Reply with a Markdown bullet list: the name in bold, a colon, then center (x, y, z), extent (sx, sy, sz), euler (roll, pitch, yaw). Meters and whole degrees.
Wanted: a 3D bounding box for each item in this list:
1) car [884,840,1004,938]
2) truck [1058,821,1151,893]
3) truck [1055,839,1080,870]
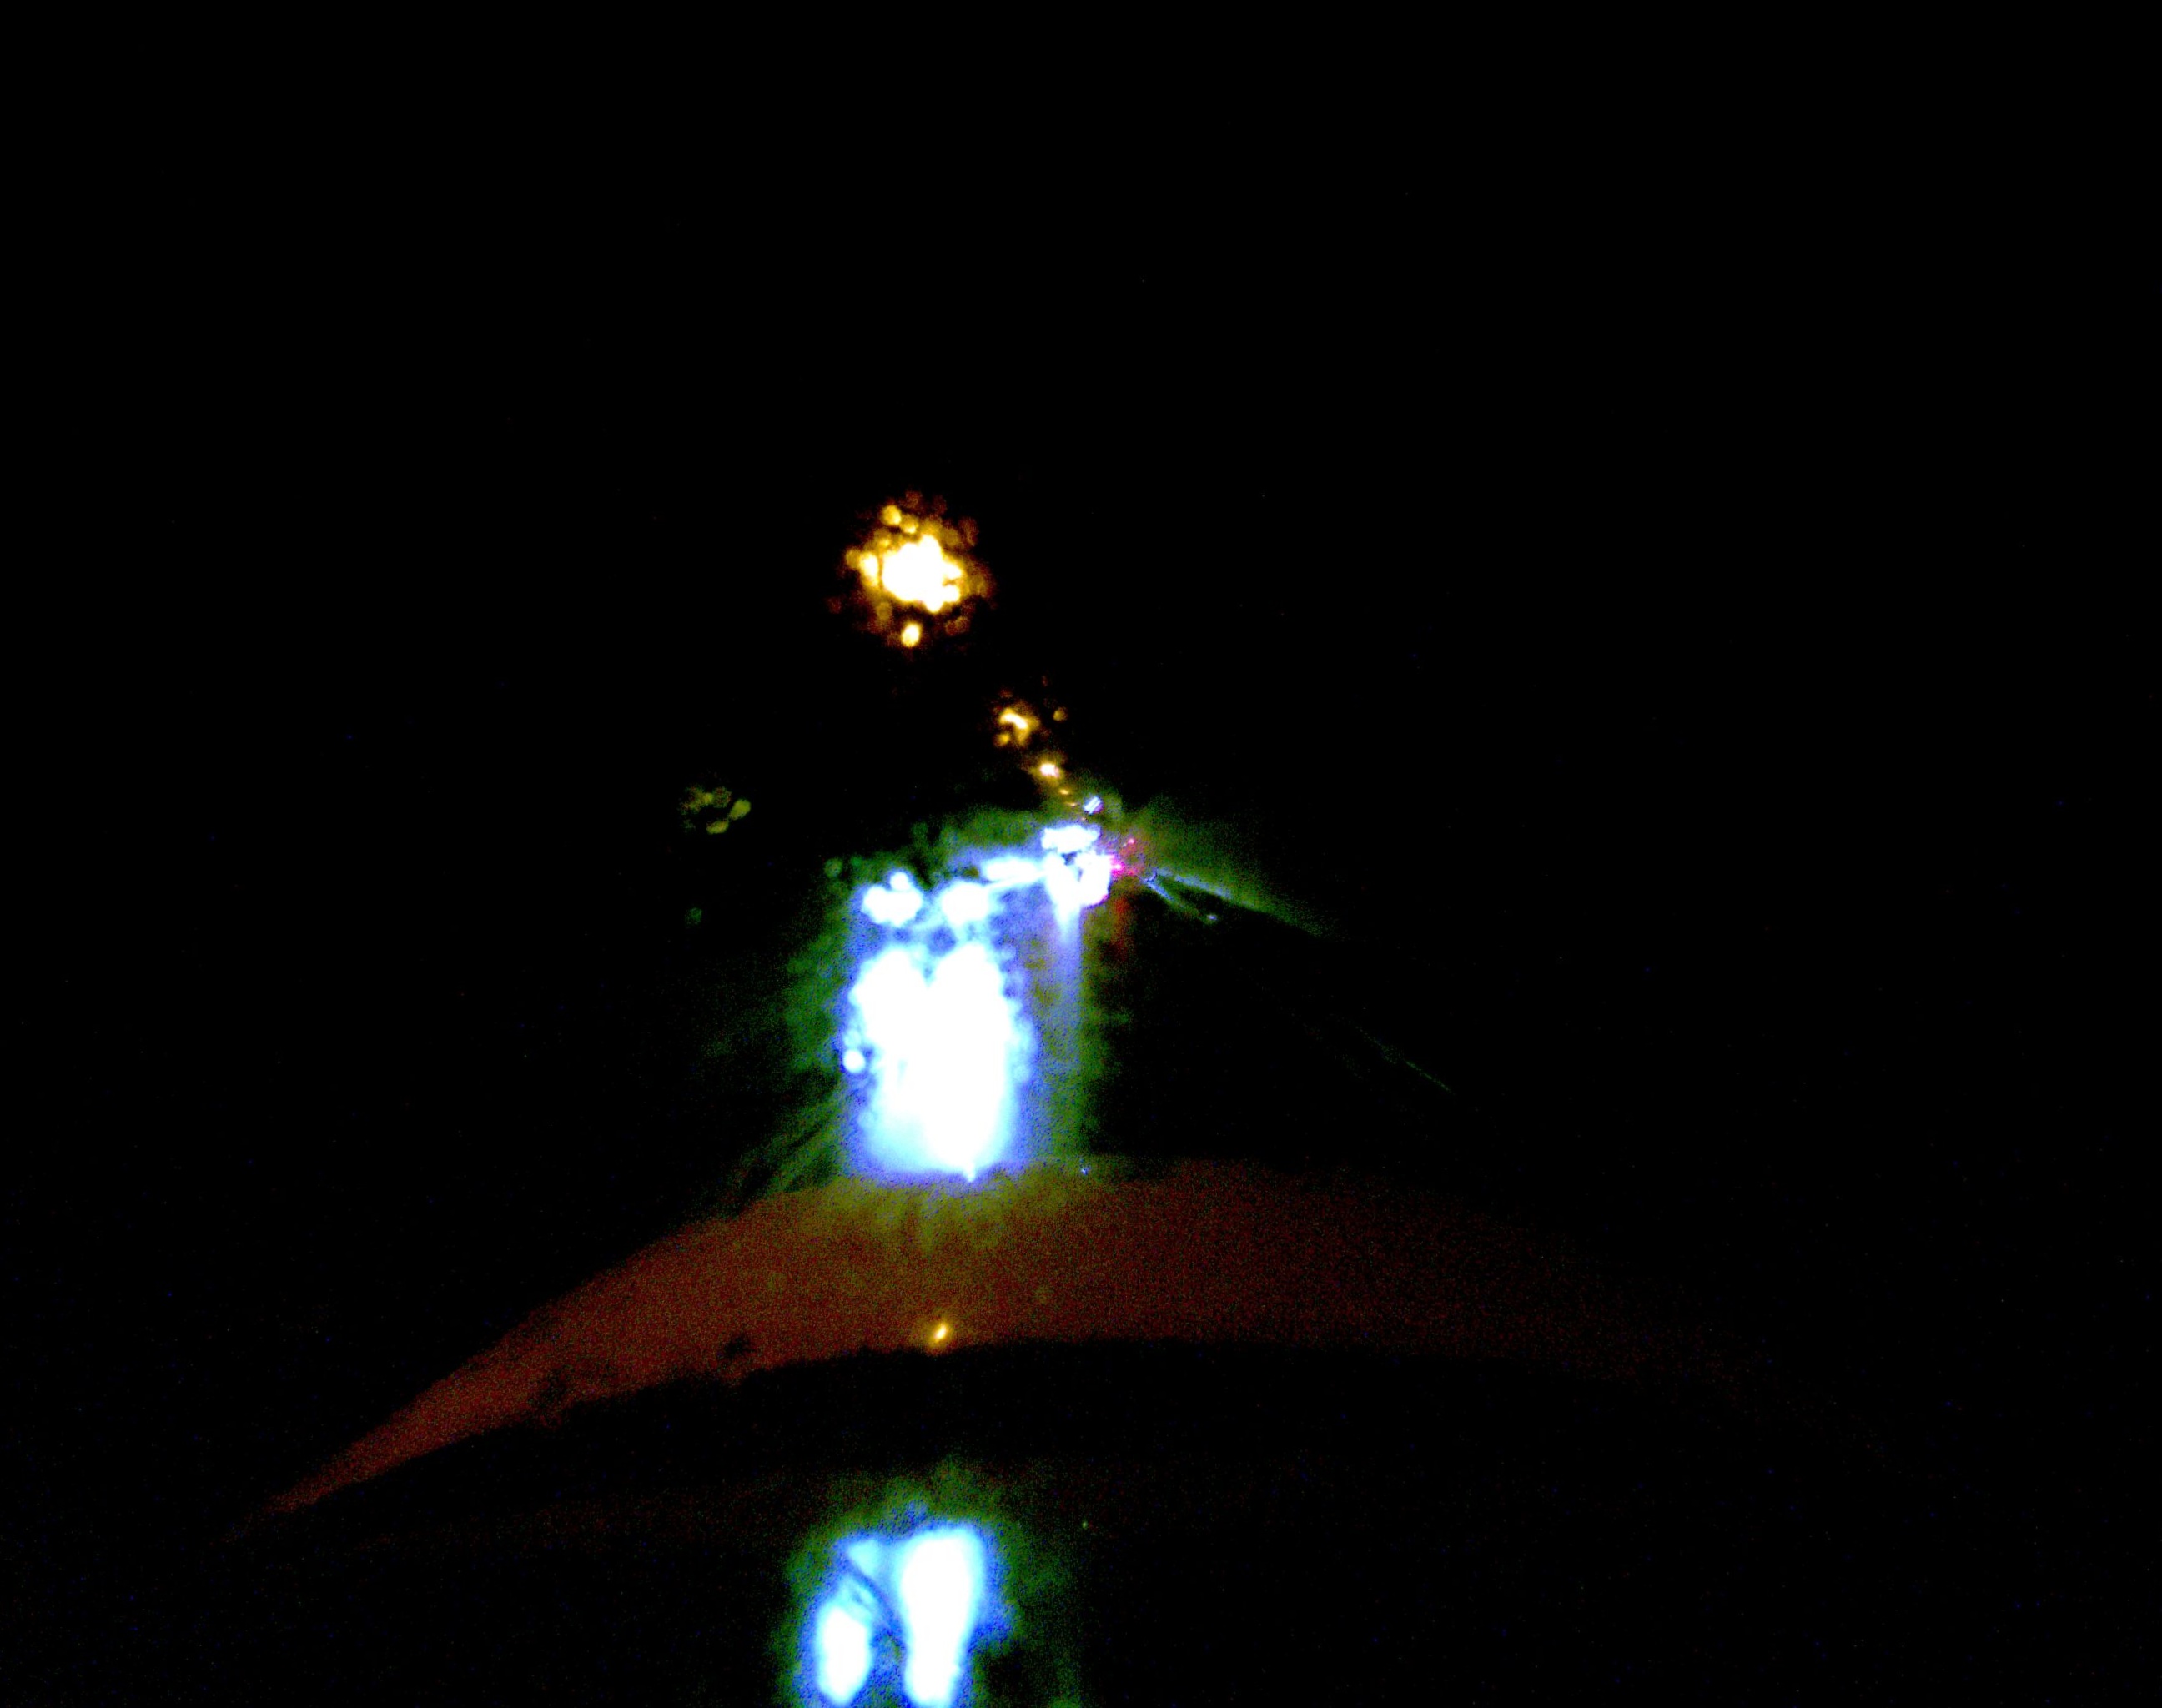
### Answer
- **car**: center (-2.768, 0.671, 17.287), extent (1.723, 1.792, 3.933), euler (-1, 0, 2)
- **truck**: center (1.071, 0.113, 36.092), extent (3.521, 2.693, 8.960), euler (-2, 0, 2)
- **truck**: center (-1.334, 0.025, 83.373), extent (2.272, 3.016, 6.594), euler (0, 0, 1)
